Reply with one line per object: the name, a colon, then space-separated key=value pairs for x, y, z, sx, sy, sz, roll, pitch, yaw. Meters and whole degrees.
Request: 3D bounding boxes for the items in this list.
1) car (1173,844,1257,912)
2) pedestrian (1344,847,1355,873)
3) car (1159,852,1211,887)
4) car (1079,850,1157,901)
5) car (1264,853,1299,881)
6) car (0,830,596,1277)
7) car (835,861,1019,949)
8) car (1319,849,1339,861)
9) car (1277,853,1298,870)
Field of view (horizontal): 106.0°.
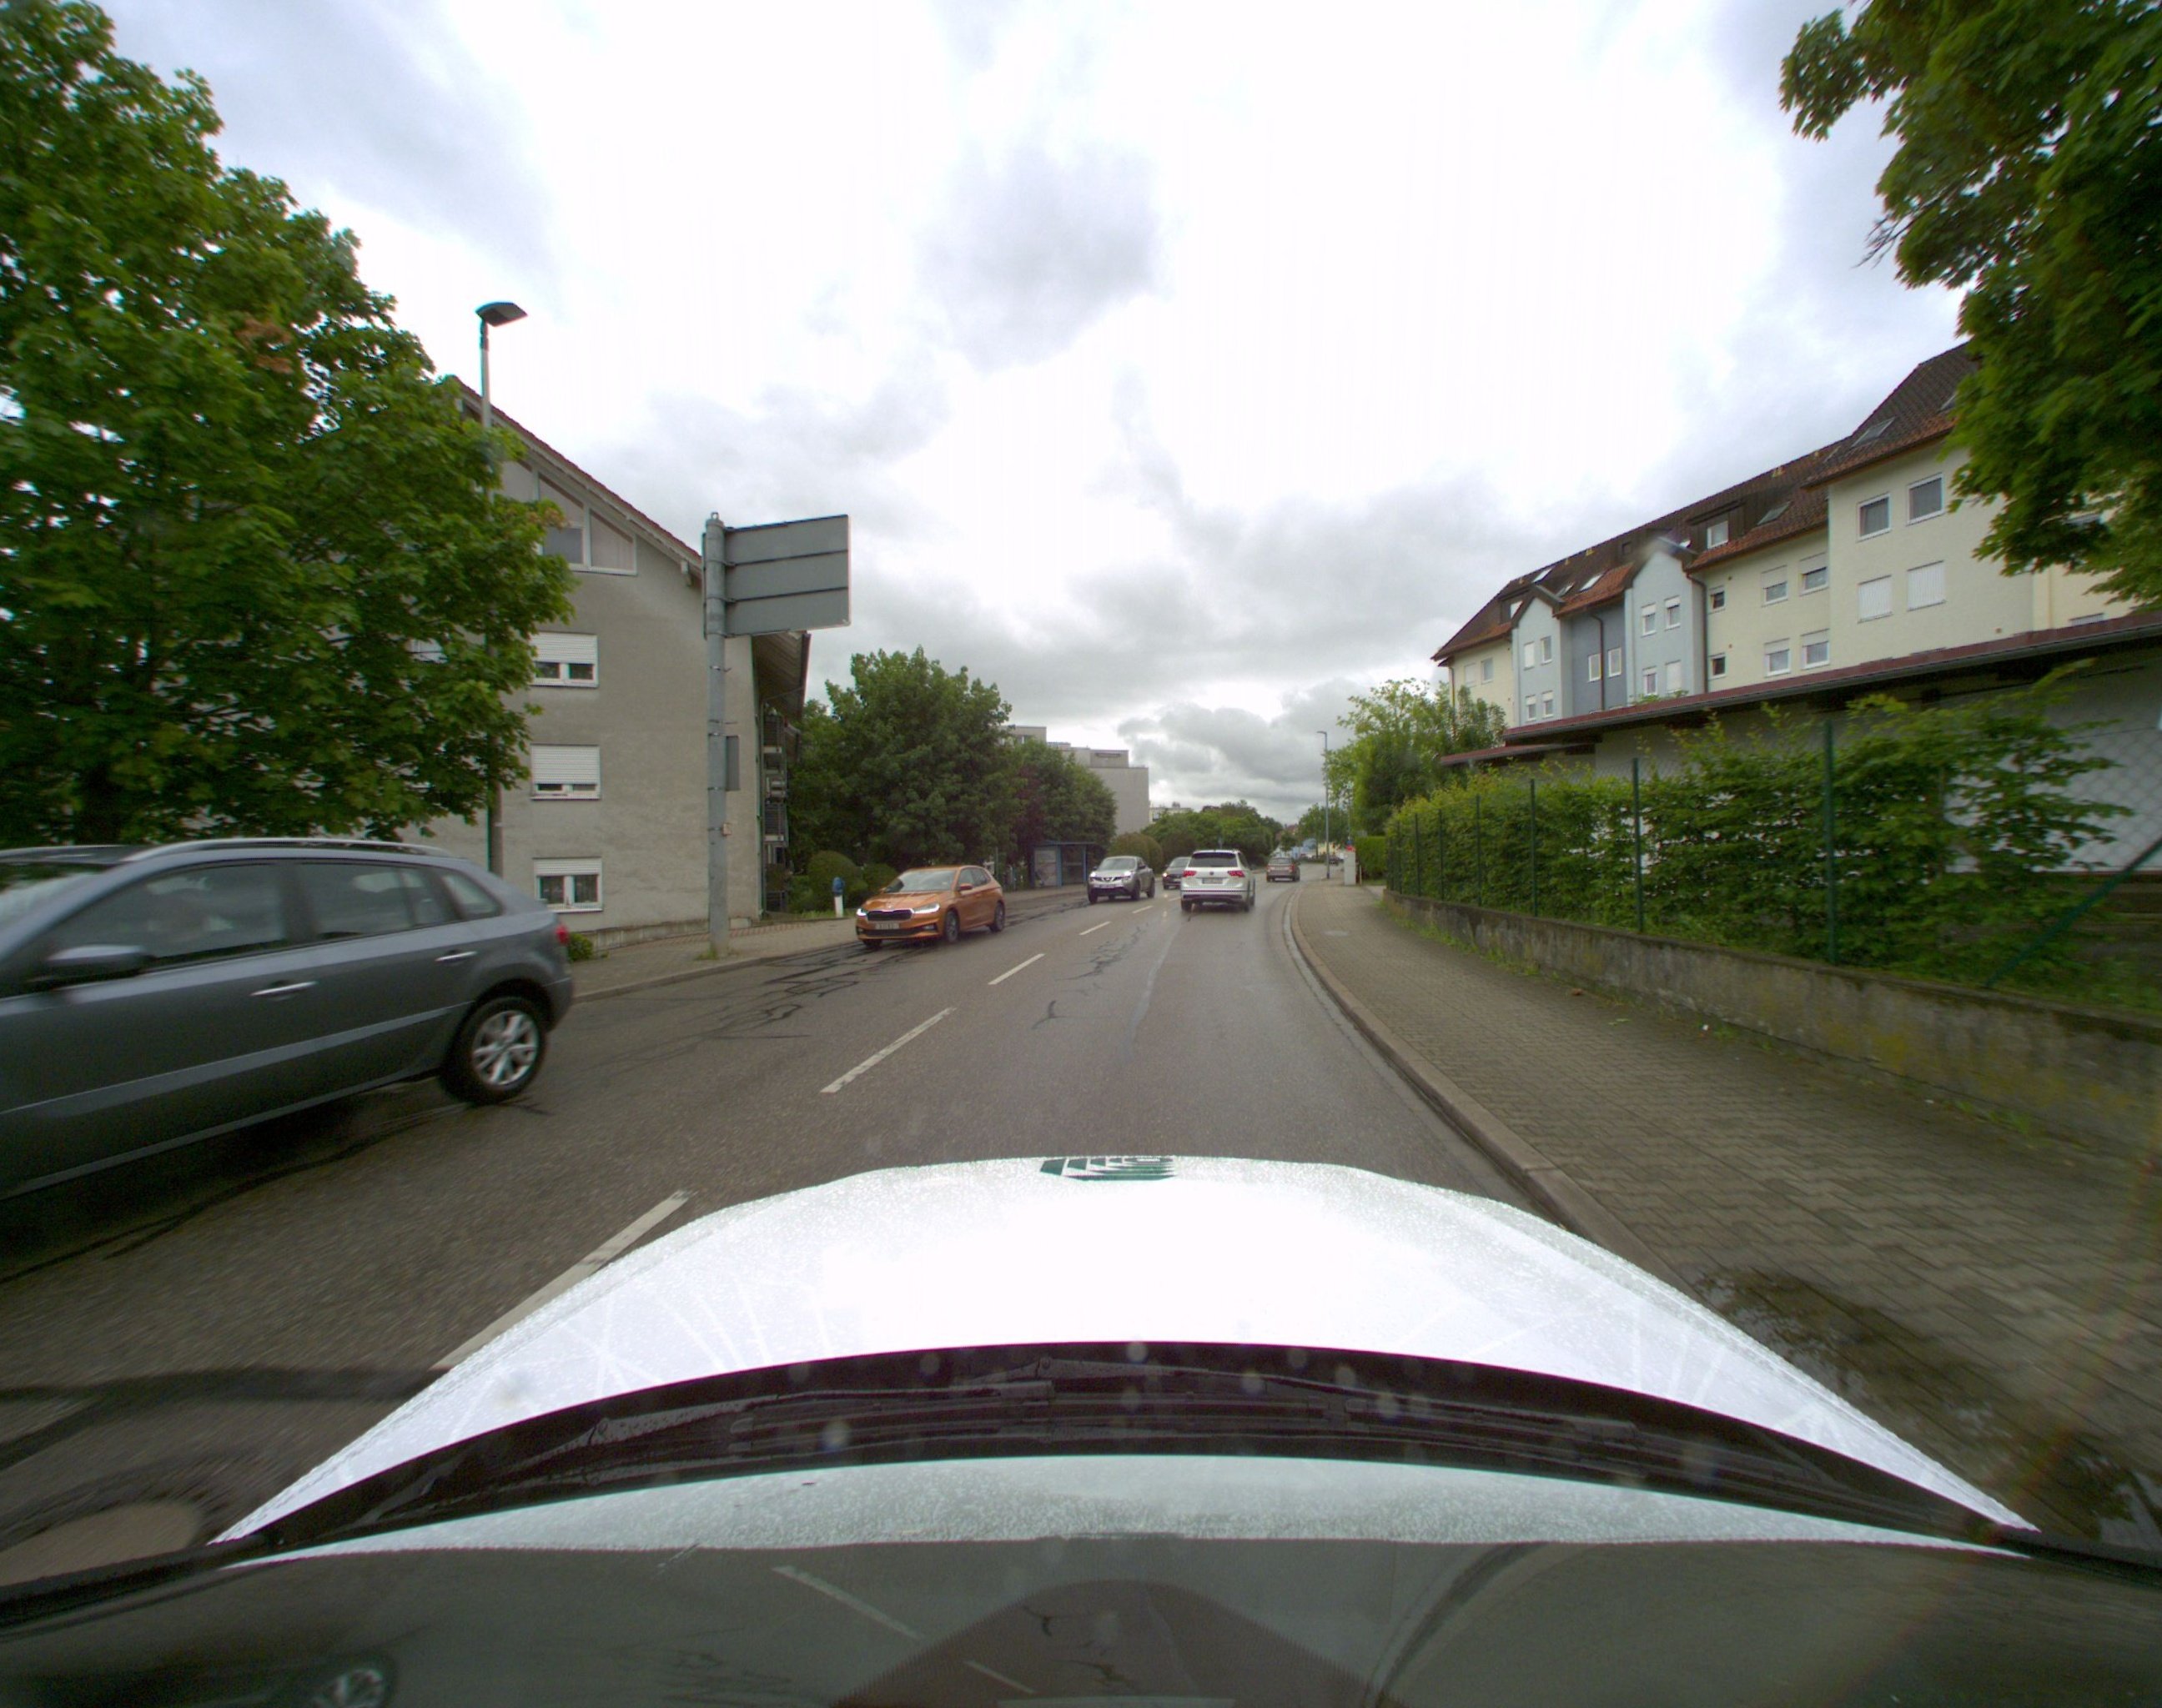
car: x=3.918 y=0.602 z=23.205 sx=1.906 sy=1.722 sz=4.283 roll=-1 pitch=1 yaw=15
pedestrian: x=17.513 y=0.415 z=53.146 sx=0.565 sy=1.672 sz=0.727 roll=-2 pitch=-3 yaw=27
car: x=5.091 y=0.710 z=39.511 sx=1.887 sy=1.590 sz=4.132 roll=-2 pitch=0 yaw=15
car: x=1.423 y=0.721 z=29.511 sx=1.887 sy=1.657 sz=4.132 roll=-2 pitch=0 yaw=15
car: x=11.714 y=0.802 z=47.363 sx=1.752 sy=1.510 sz=4.016 roll=-2 pitch=-2 yaw=16
car: x=-4.851 y=0.774 z=4.065 sx=1.891 sy=1.657 sz=4.275 roll=-2 pitch=0 yaw=7
car: x=-2.850 y=0.915 z=16.098 sx=1.887 sy=1.439 sz=4.132 roll=-2 pitch=0 yaw=15
car: x=34.831 y=0.155 z=114.590 sx=1.994 sy=1.456 sz=4.007 roll=-2 pitch=-2 yaw=7
car: x=21.201 y=0.773 z=83.668 sx=1.887 sy=1.657 sz=4.133 roll=-2 pitch=0 yaw=16
